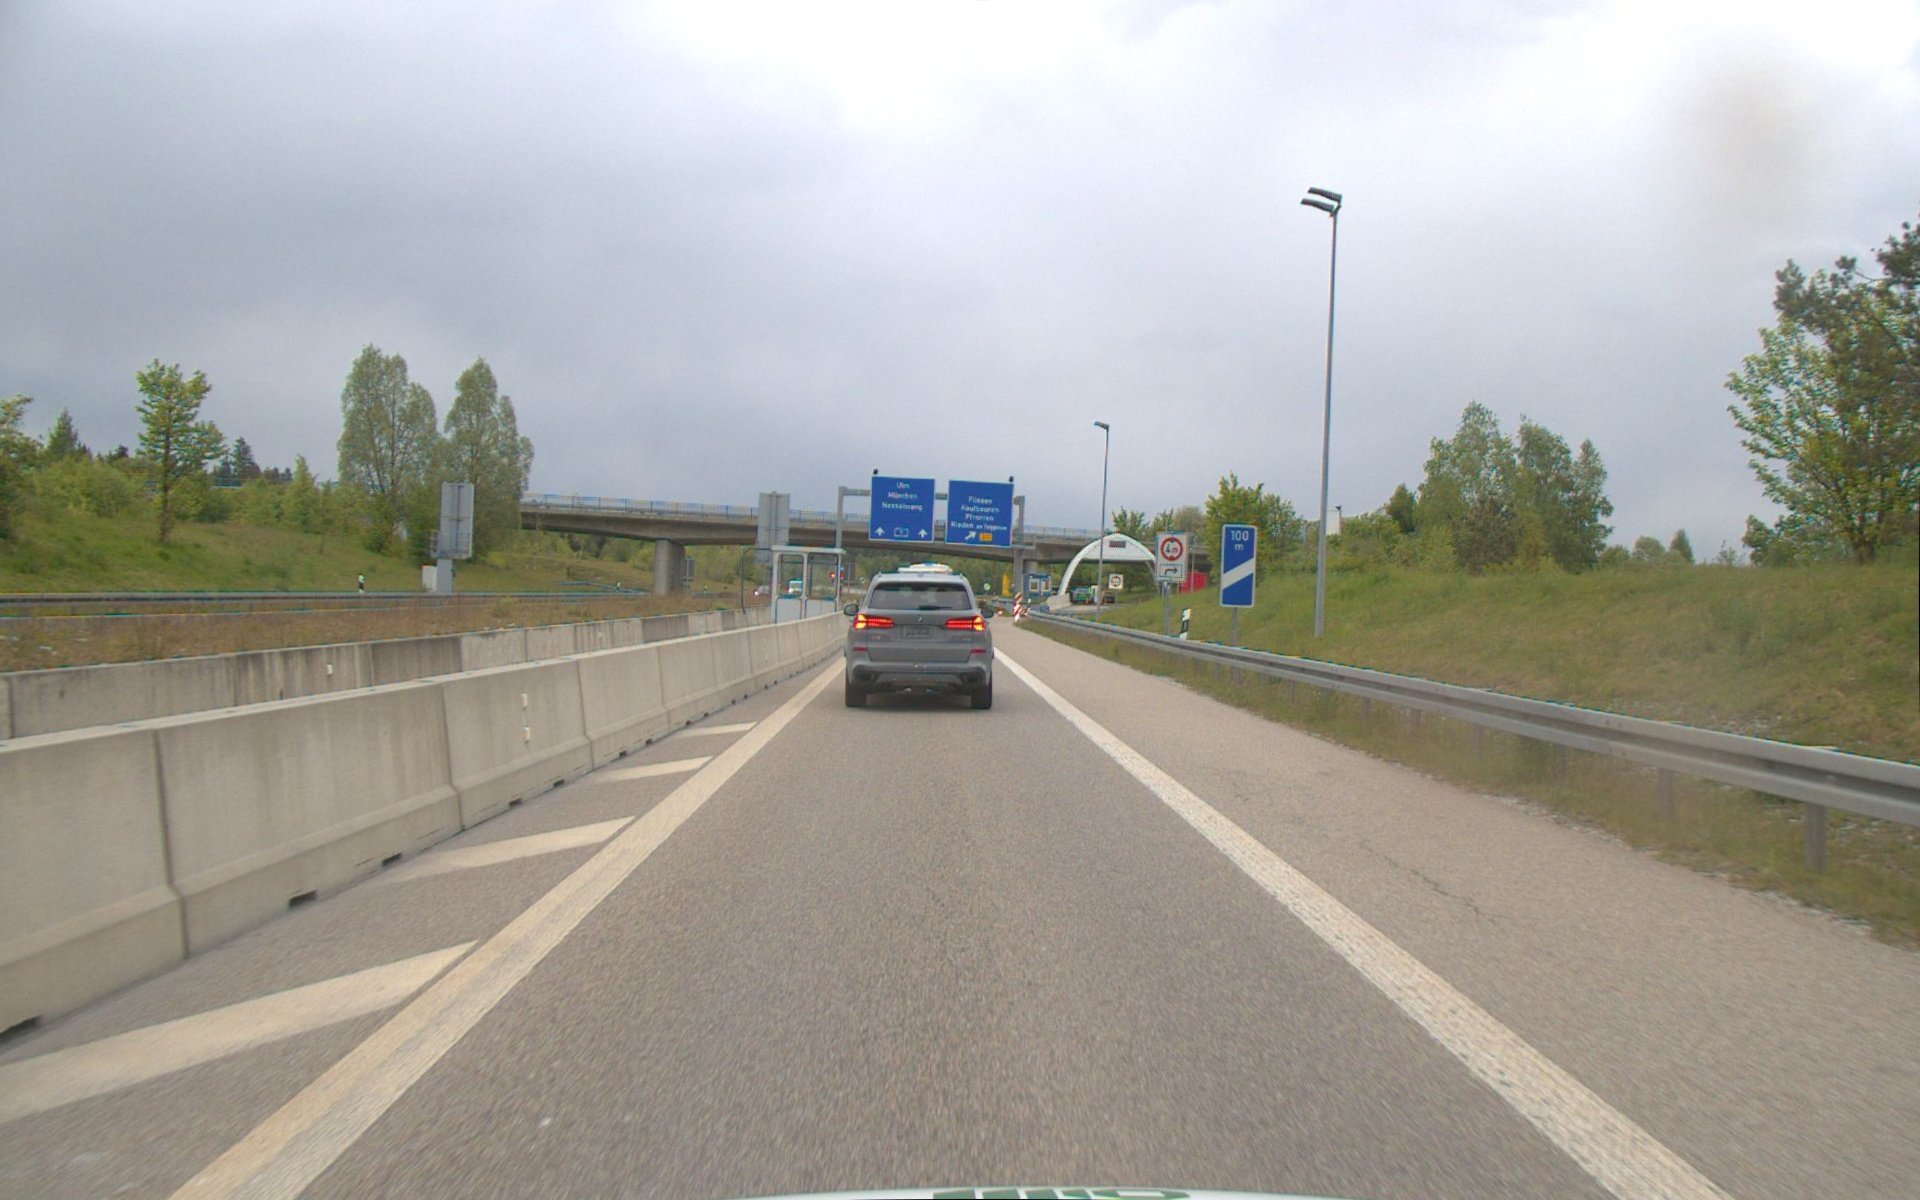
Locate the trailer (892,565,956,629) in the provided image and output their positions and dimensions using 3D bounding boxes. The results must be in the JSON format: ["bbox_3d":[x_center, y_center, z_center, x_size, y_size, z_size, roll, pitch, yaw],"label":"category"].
[{"bbox_3d":[-1.403,-0.105,68.254,2.231,2.473,6.819,1,0,2],"label":"trailer"}]

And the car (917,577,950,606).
[{"bbox_3d":[-1.956,-0.651,121.287,2.240,2.049,5.048,1,1,-3],"label":"car"}]

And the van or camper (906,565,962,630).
[{"bbox_3d":[-1.115,-0.096,74.604,2.112,2.812,5.873,1,0,3],"label":"van or camper"}]

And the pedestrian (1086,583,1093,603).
[{"bbox_3d":[13.409,-0.729,171.694,0.705,1.979,0.690,0,0,3],"label":"pedestrian"}]

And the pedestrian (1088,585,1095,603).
[{"bbox_3d":[13.523,-0.638,170.536,0.705,1.806,0.690,0,0,3],"label":"pedestrian"}]

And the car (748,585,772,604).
[{"bbox_3d":[-17.734,-0.481,146.703,1.668,1.602,4.176,2,0,-1],"label":"car"}]

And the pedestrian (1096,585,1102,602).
[{"bbox_3d":[14.413,-0.649,171.619,0.634,1.806,0.606,0,0,1],"label":"pedestrian"}]

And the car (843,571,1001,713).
[{"bbox_3d":[-0.513,0.520,22.754,1.953,1.749,3.999,1,0,-1],"label":"car"}]

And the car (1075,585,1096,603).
[{"bbox_3d":[12.736,-0.604,168.208,1.952,1.803,3.767,0,0,3],"label":"car"}]
